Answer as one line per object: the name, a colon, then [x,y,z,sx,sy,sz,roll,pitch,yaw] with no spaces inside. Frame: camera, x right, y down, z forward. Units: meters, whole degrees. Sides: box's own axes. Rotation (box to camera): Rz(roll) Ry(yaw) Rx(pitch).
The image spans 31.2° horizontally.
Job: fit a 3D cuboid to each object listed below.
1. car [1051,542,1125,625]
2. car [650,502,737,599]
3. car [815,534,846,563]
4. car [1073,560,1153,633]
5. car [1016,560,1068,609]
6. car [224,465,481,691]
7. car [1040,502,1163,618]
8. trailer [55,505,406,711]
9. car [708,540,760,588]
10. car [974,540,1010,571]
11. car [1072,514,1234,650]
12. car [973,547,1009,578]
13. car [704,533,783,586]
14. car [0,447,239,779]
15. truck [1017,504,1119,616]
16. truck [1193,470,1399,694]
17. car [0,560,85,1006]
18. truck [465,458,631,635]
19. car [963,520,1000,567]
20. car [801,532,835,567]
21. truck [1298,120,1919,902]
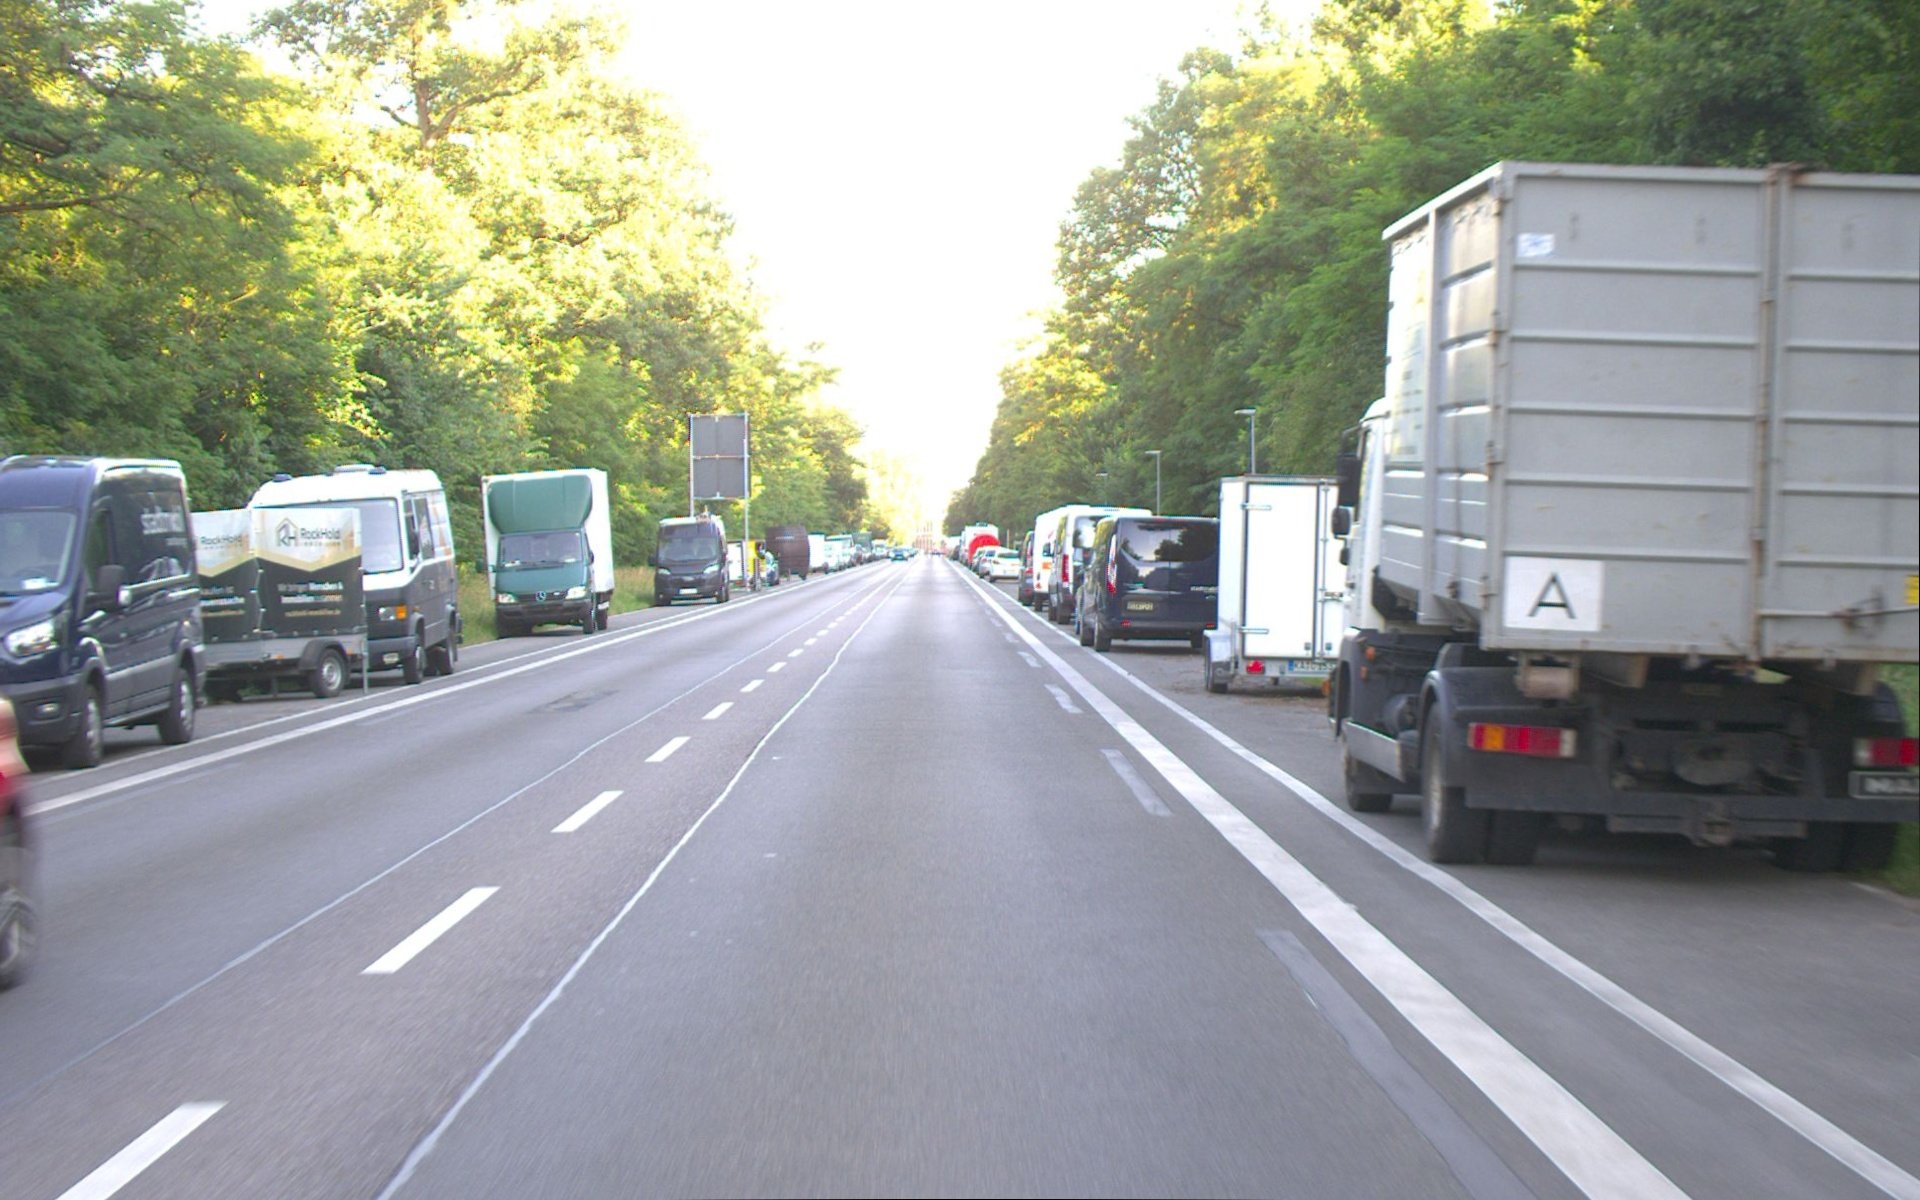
car: [2.403,-0.322,64.882,1.147,1.541,2.754,0,1,-3]
car: [-8.029,-1.513,104.144,2.186,2.779,5.334,-2,1,-1]
car: [-9.418,-3.762,249.953,1.993,2.007,4.000,-2,1,1]
car: [2.672,-0.070,60.336,1.147,1.247,2.754,0,1,-3]
car: [2.121,-0.410,89.612,1.147,1.247,2.754,0,1,-3]
car: [-7.665,-0.317,44.017,2.249,2.638,5.722,-2,1,-1]
car: [2.882,-0.826,70.918,2.141,2.306,4.300,0,1,-3]
trailer: [-8.090,0.048,38.493,1.965,2.147,3.926,-1,1,21]
car: [-8.249,-1.313,125.521,1.771,1.666,4.001,1,1,-2]
car: [1.542,-2.157,166.629,1.645,1.481,4.000,1,1,-1]
car: [2.851,-0.288,51.658,1.993,1.948,4.300,0,1,-3]
car: [1.341,-1.625,148.894,1.427,1.218,3.412,-3,1,0]
car: [-8.410,-1.602,133.933,1.701,2.007,3.997,1,1,18]
car: [-7.426,0.083,27.594,1.993,2.356,5.766,-3,1,-1]
truck: [2.600,-0.987,83.809,2.141,2.650,4.300,0,1,-3]
truck: [3.568,-0.209,37.156,1.885,2.276,4.300,0,1,1]
car: [-4.065,0.655,10.585,1.682,1.481,4.038,-2,1,0]
truck: [-8.254,-1.094,69.585,2.504,3.317,6.842,-2,1,-1]
car: [1.439,-3.788,230.826,2.314,3.082,5.640,1,1,-1]
car: [-8.759,-3.107,211.797,1.993,2.007,4.000,-1,0,-3]
truck: [3.414,-0.413,17.909,2.589,3.244,7.221,0,1,0]
